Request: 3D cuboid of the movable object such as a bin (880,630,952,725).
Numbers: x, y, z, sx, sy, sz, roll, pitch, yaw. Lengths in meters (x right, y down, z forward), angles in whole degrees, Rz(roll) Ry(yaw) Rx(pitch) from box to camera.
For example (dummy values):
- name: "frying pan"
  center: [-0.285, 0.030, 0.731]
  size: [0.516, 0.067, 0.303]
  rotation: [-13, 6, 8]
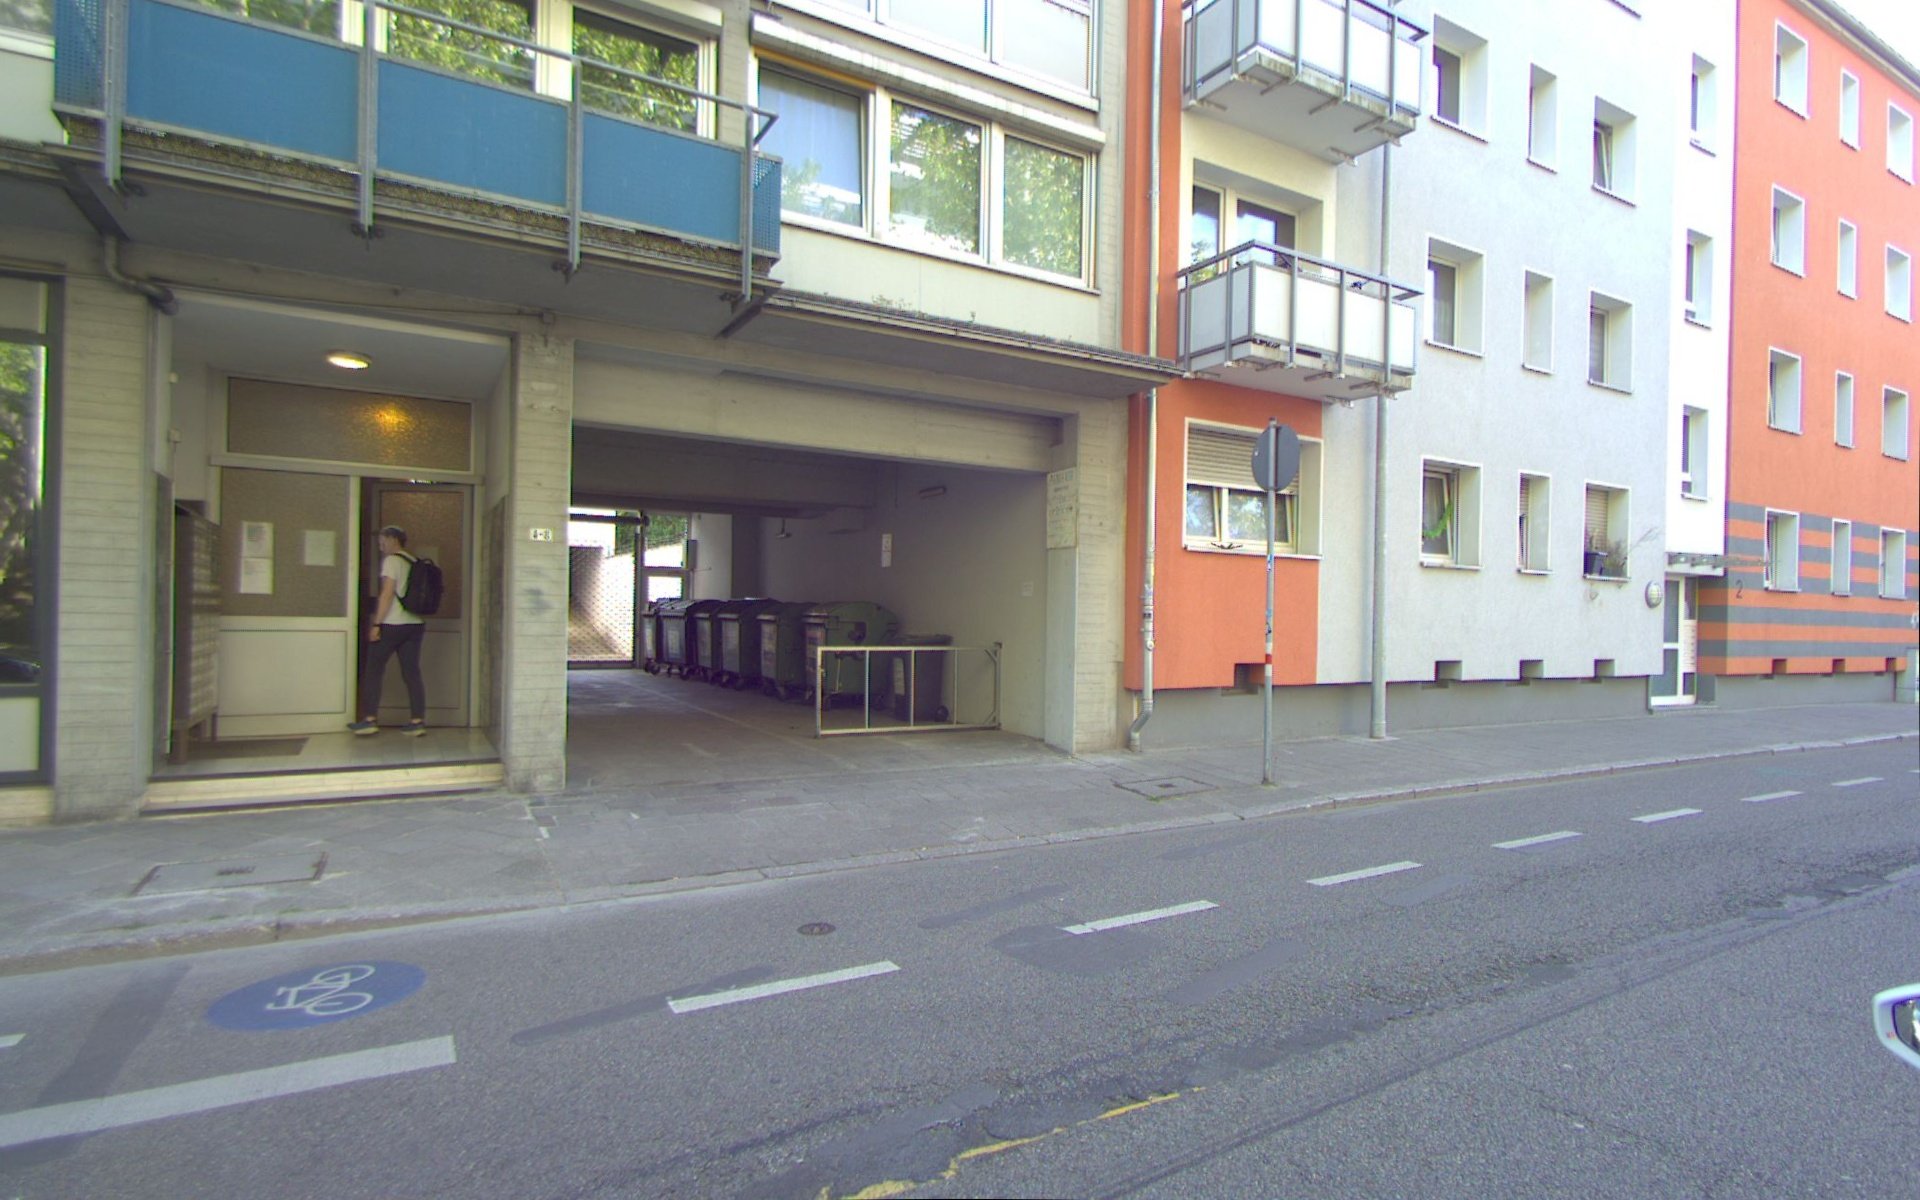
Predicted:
- name: "movable object such as a bin"
  center: [-0.544, 0.947, 12.405]
  size: [0.745, 1.116, 0.463]
  rotation: [2, 0, -30]

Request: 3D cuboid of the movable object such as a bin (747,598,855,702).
- name: "movable object such as a bin"
  center: [-2.412, 0.728, 15.131]
  size: [1.186, 1.467, 1.319]
  rotation: [2, 0, -30]

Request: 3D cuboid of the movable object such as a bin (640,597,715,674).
- name: "movable object such as a bin"
  center: [-5.625, 0.694, 19.977]
  size: [1.186, 1.467, 1.027]
  rotation: [2, 0, -30]

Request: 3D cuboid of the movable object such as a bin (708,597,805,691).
- name: "movable object such as a bin"
  center: [-3.379, 0.706, 16.615]
  size: [1.186, 1.467, 1.319]
  rotation: [2, 0, -30]

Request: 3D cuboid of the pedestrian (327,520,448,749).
- name: "pedestrian"
  center: [-4.971, 0.299, 8.764]
  size: [0.774, 1.904, 0.579]
  rotation: [2, 0, -19]

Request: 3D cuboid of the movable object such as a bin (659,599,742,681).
- name: "movable object such as a bin"
  center: [-4.849, 0.729, 18.748]
  size: [1.186, 1.467, 1.222]
  rotation: [2, 0, -30]

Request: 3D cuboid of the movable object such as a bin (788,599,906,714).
- name: "movable object such as a bin"
  center: [-1.572, 0.747, 13.797]
  size: [1.159, 1.467, 1.319]
  rotation: [2, 0, -30]

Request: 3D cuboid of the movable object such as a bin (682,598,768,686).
- name: "movable object such as a bin"
  center: [-4.150, 0.727, 17.705]
  size: [1.186, 1.467, 1.114]
  rotation: [2, 0, -30]
